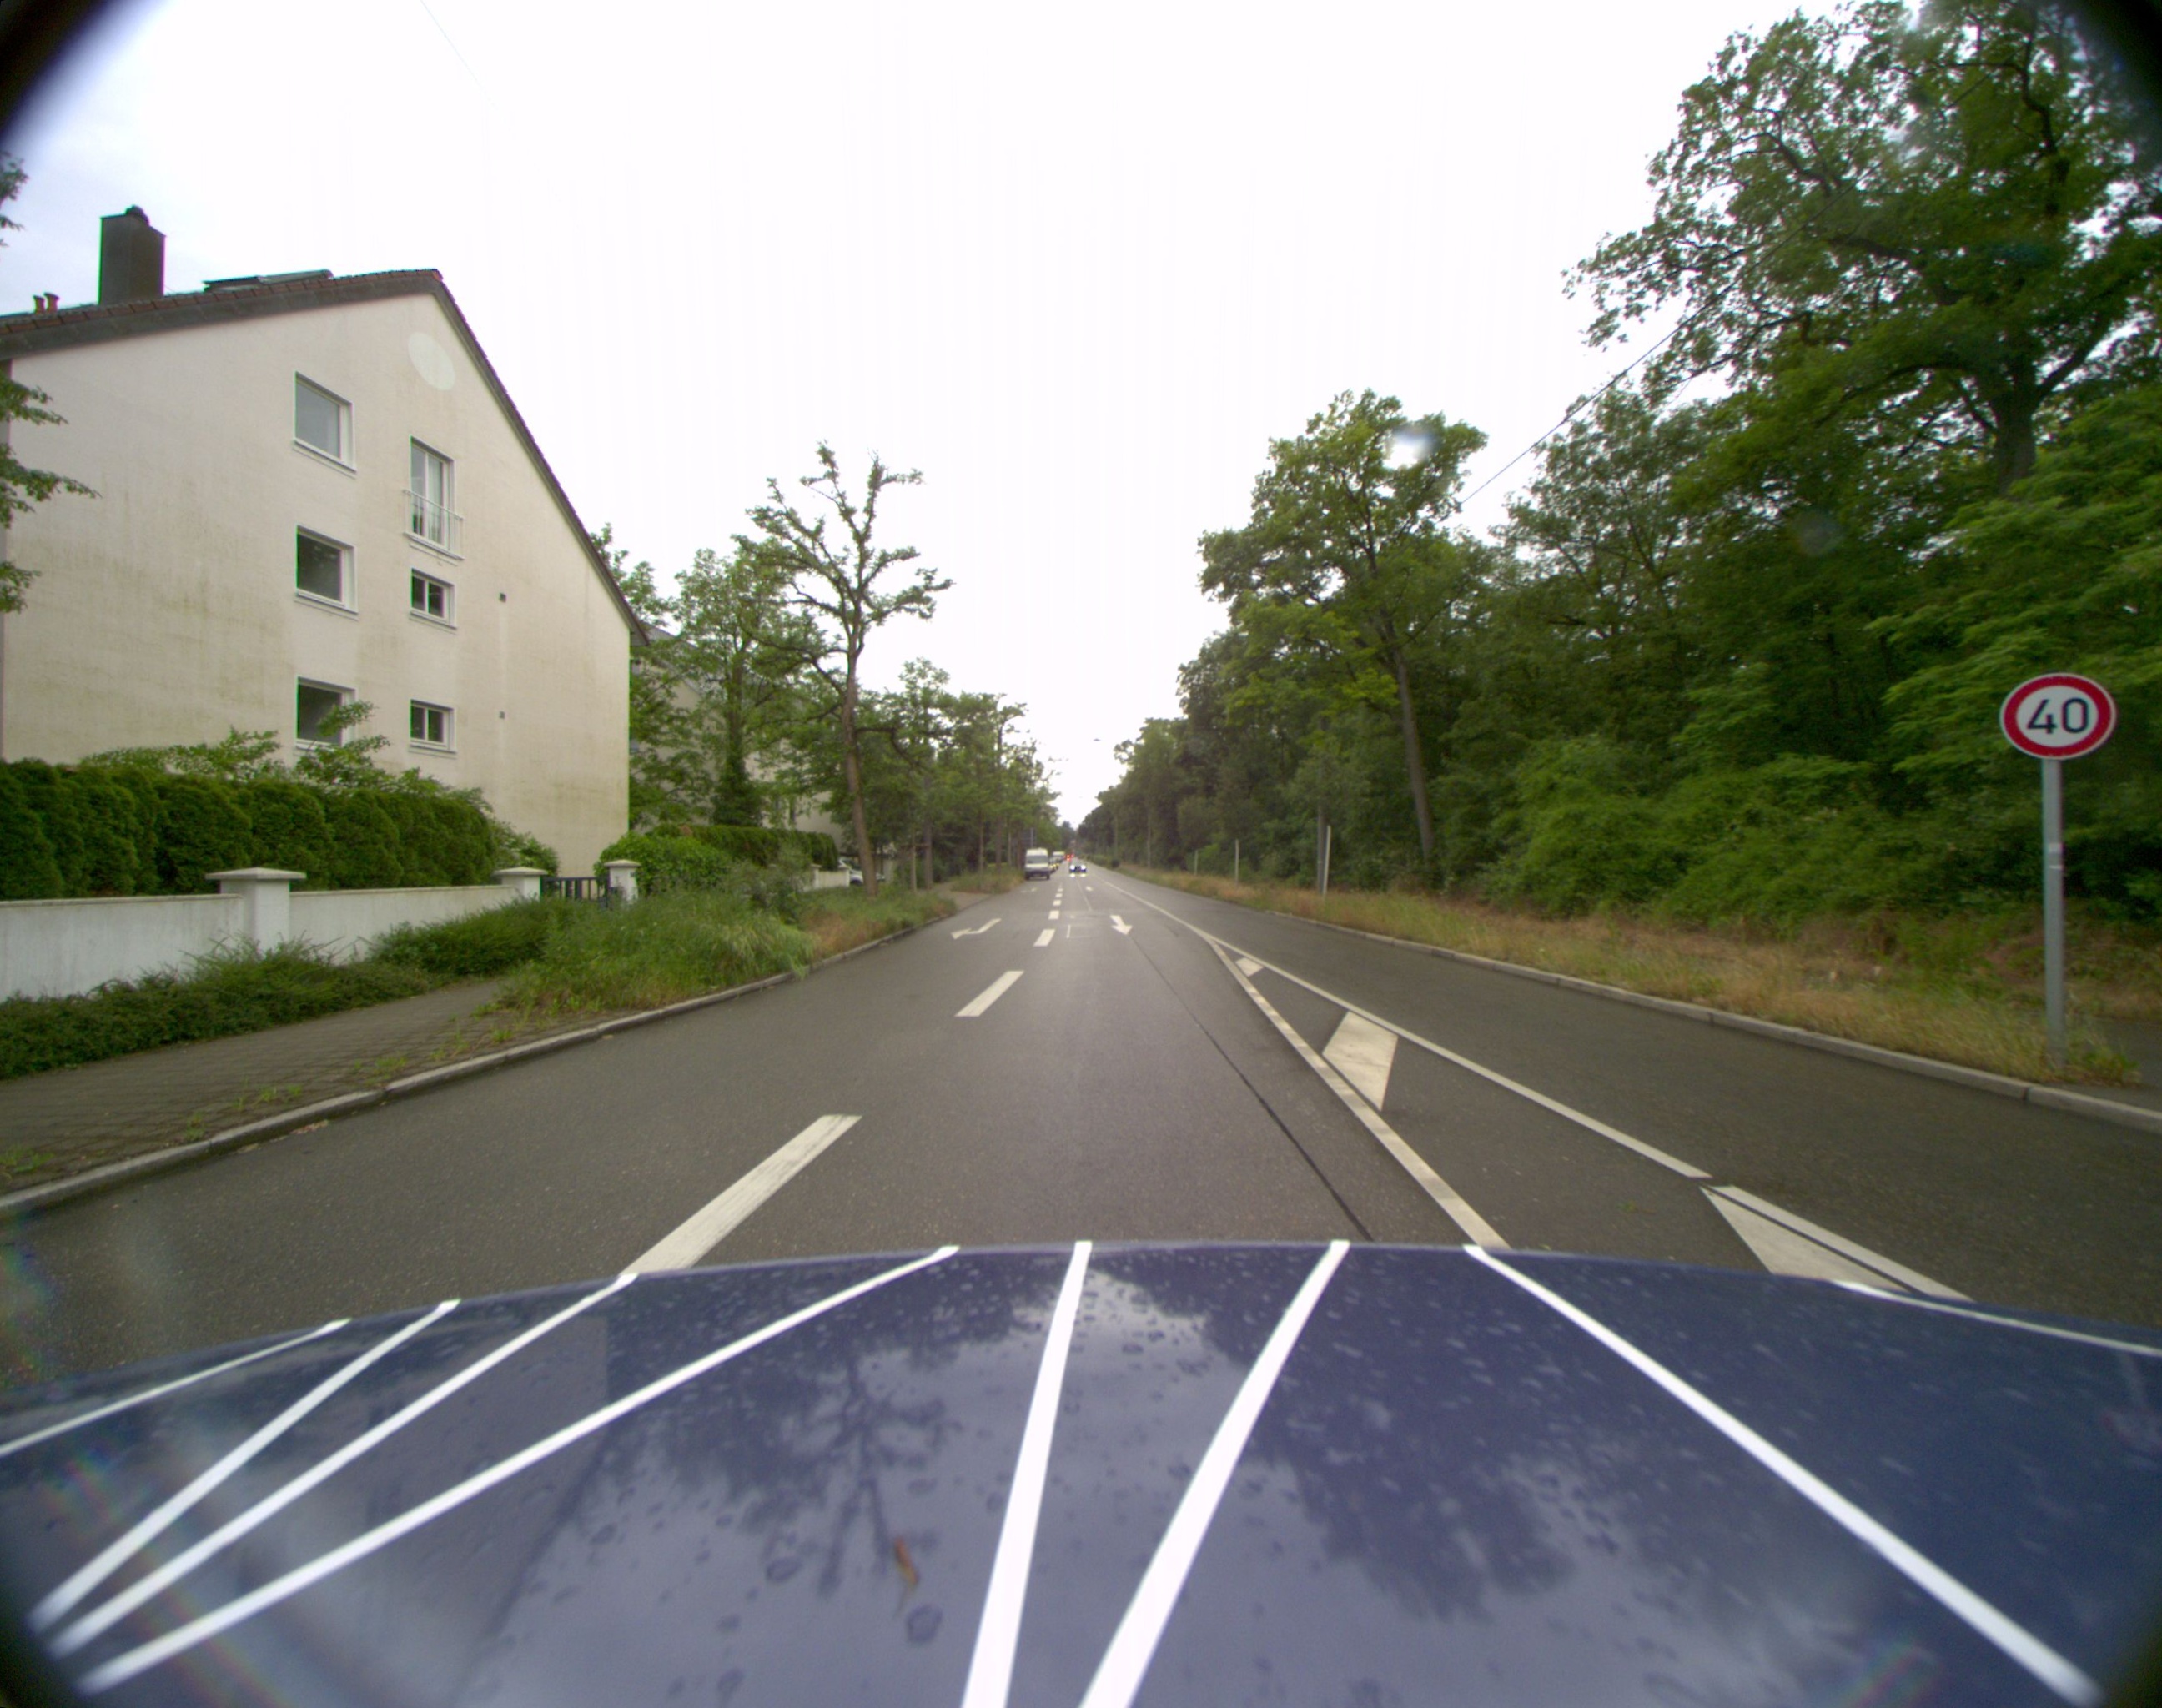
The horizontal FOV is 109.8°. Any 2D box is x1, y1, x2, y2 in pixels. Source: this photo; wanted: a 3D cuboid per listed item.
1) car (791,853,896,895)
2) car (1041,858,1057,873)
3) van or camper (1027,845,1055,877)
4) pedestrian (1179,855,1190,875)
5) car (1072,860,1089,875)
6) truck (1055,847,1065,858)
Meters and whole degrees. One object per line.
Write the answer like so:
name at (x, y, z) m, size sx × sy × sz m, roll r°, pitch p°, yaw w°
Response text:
car at (-11.171, 0.926, 35.861) m, size 4.312 × 1.807 × 1.876 m, roll -1°, pitch 0°, yaw 10°
car at (-3.448, 1.212, 81.557) m, size 1.576 × 1.463 × 3.764 m, roll -2°, pitch 0°, yaw -1°
van or camper at (-3.302, 0.537, 63.494) m, size 2.042 × 2.465 × 5.637 m, roll -3°, pitch 0°, yaw -1°
pedestrian at (8.508, 0.910, 62.653) m, size 0.783 × 1.598 × 0.732 m, roll 0°, pitch 1°, yaw -2°
car at (-0.051, 1.495, 83.892) m, size 1.622 × 1.459 × 4.409 m, roll -2°, pitch 0°, yaw -2°
truck at (-4.881, -0.356, 172.671) m, size 2.230 × 2.321 × 5.112 m, roll 1°, pitch 0°, yaw -2°
